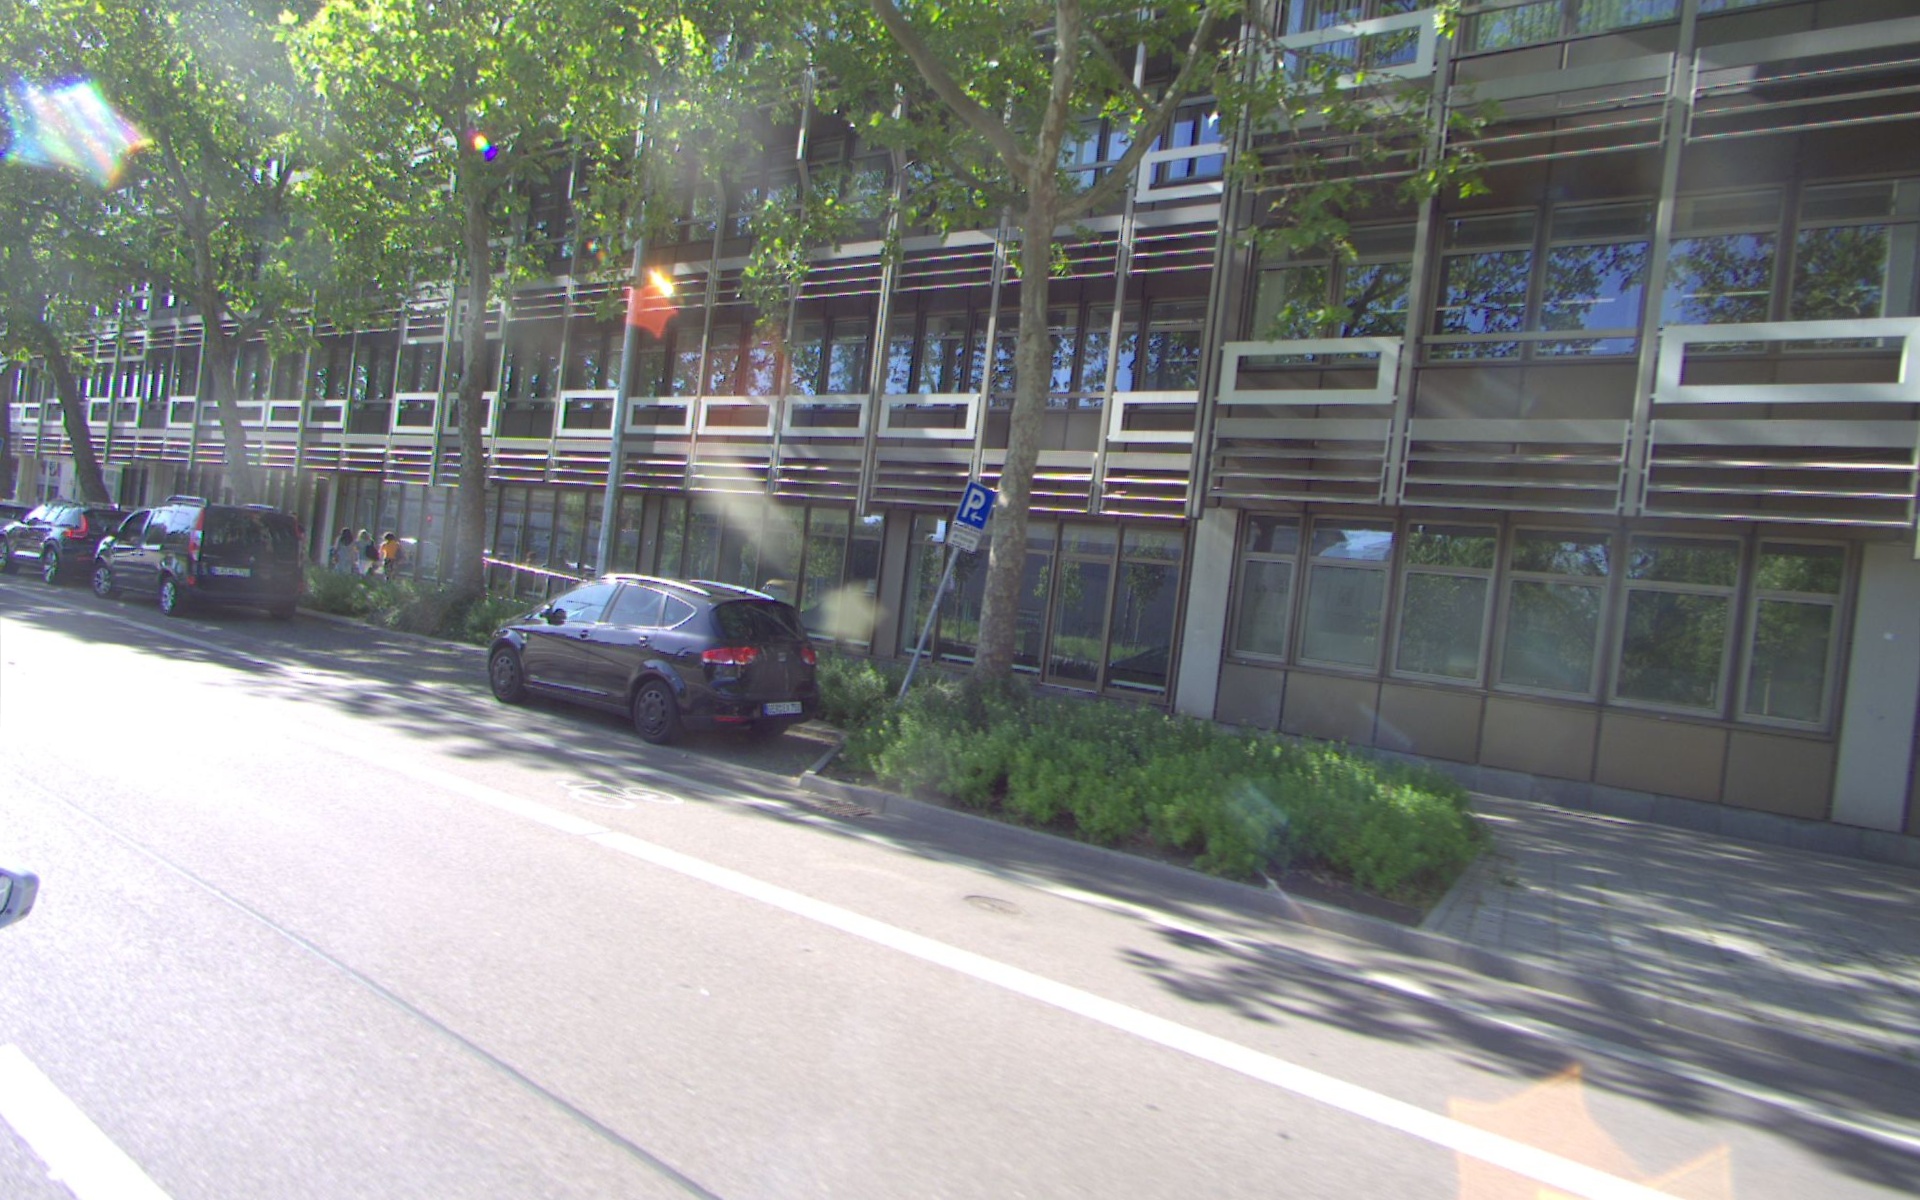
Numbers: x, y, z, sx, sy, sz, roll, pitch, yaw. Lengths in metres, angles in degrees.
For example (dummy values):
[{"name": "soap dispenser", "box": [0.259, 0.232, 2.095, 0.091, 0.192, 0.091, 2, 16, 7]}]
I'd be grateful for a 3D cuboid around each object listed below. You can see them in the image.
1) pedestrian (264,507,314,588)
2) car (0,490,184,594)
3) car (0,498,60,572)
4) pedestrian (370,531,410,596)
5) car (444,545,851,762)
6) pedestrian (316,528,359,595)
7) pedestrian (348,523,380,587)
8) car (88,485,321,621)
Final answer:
[{"name": "pedestrian", "box": [-17.143, -1.333, 25.717, 0.548, 1.938, 0.678, 6, -2, 32]}, {"name": "car", "box": [-17.389, -1.169, 19.988, 4.123, 1.582, 1.706, 7, -1, 32]}, {"name": "car", "box": [-22.968, -1.688, 23.459, 4.524, 1.510, 1.706, 7, -1, 32]}, {"name": "pedestrian", "box": [-15.169, -0.977, 26.767, 0.564, 1.622, 0.554, 7, 0, 32]}, {"name": "car", "box": [-3.561, 0.467, 11.083, 4.562, 1.664, 1.704, 7, 1, 34]}, {"name": "pedestrian", "box": [-15.904, -0.982, 25.715, 0.623, 1.603, 0.507, 7, 0, 24]}, {"name": "pedestrian", "box": [-15.537, -1.168, 26.225, 0.492, 1.603, 0.316, 7, 0, 24]}, {"name": "car", "box": [-12.758, -0.816, 16.914, 4.123, 1.813, 1.705, 7, 2, 32]}]
